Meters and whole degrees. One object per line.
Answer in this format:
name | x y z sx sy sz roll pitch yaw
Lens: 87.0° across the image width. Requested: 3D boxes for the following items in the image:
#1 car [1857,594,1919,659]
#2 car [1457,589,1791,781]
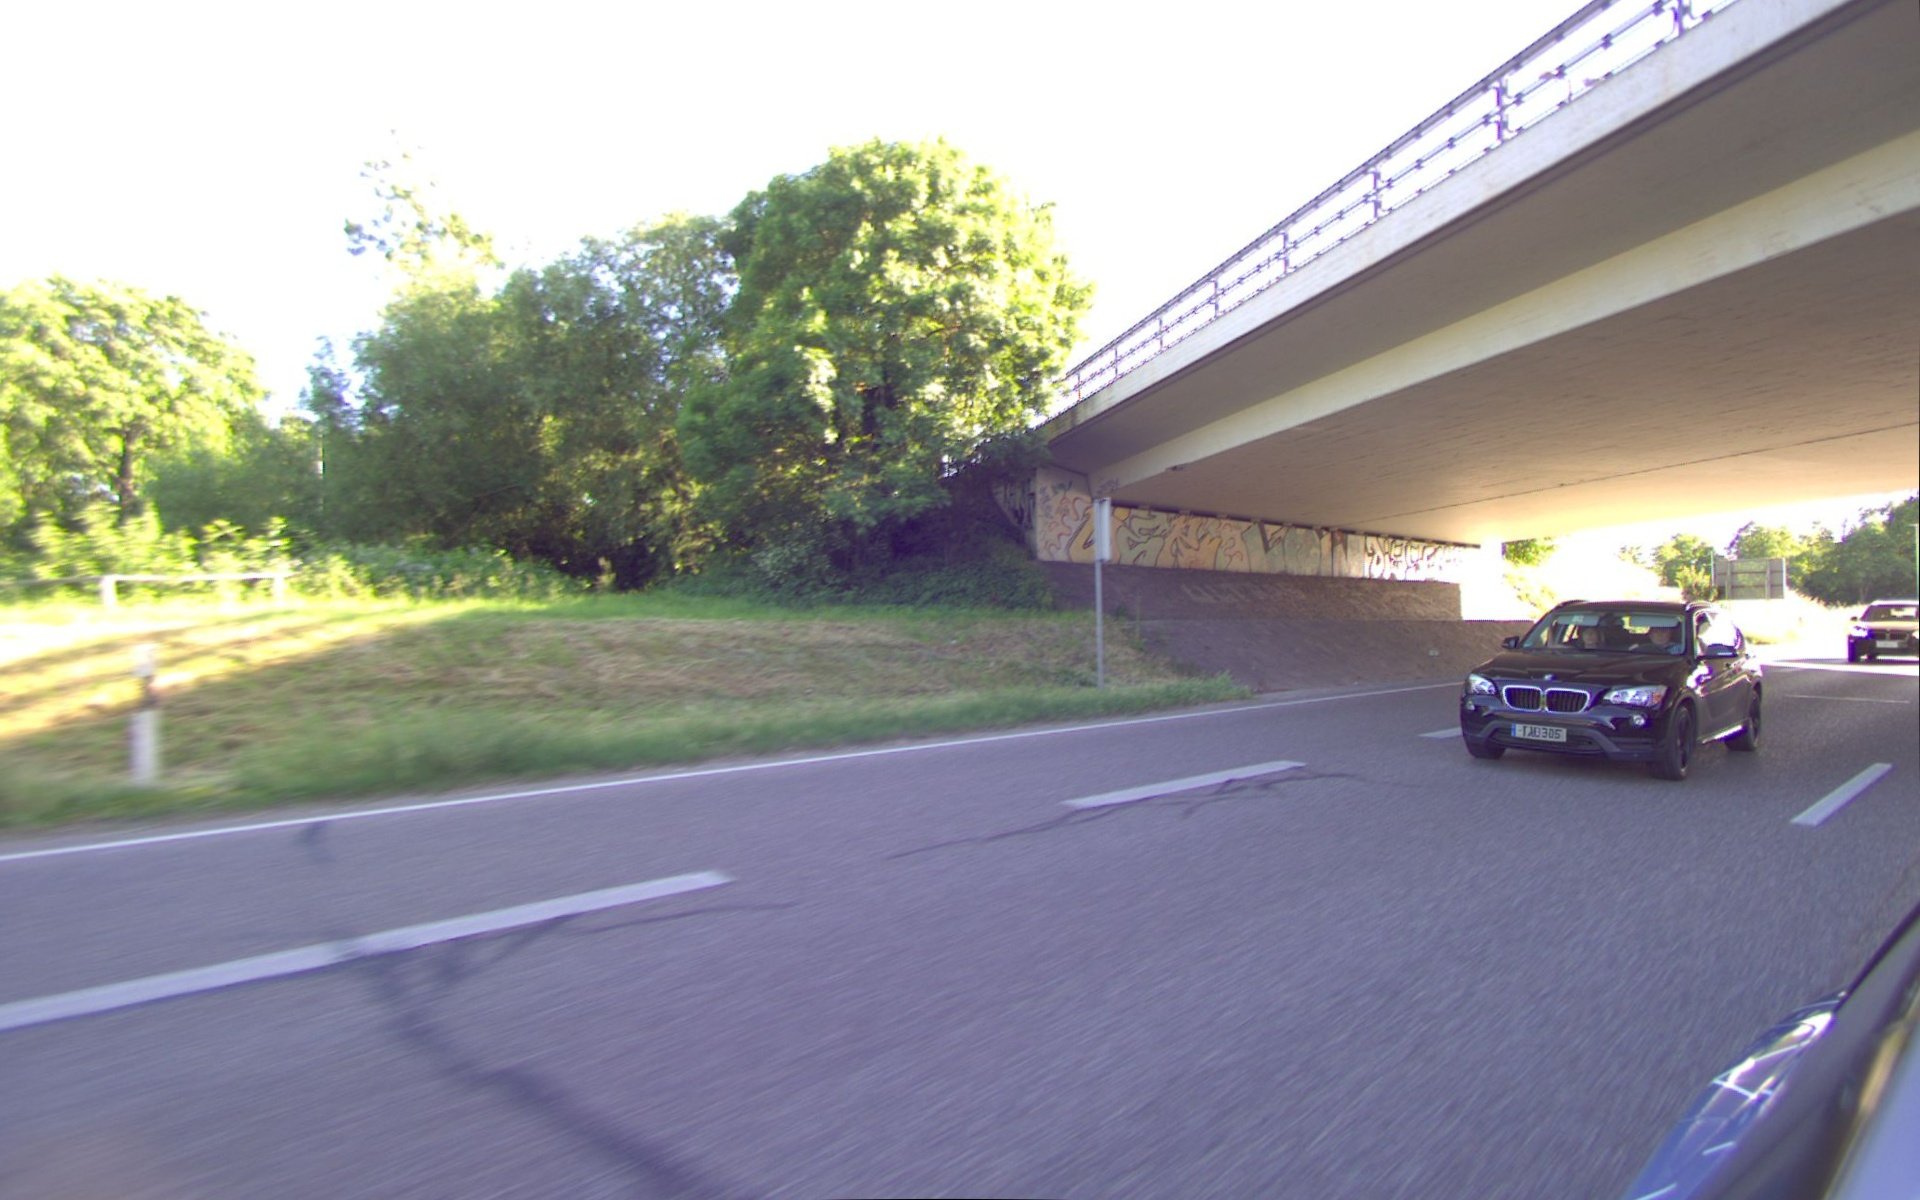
car | 25.735 0.653 27.238 4.441 1.593 1.758 -1 1 -40
car | 6.834 0.654 10.198 4.500 1.525 1.701 -1 1 -41
